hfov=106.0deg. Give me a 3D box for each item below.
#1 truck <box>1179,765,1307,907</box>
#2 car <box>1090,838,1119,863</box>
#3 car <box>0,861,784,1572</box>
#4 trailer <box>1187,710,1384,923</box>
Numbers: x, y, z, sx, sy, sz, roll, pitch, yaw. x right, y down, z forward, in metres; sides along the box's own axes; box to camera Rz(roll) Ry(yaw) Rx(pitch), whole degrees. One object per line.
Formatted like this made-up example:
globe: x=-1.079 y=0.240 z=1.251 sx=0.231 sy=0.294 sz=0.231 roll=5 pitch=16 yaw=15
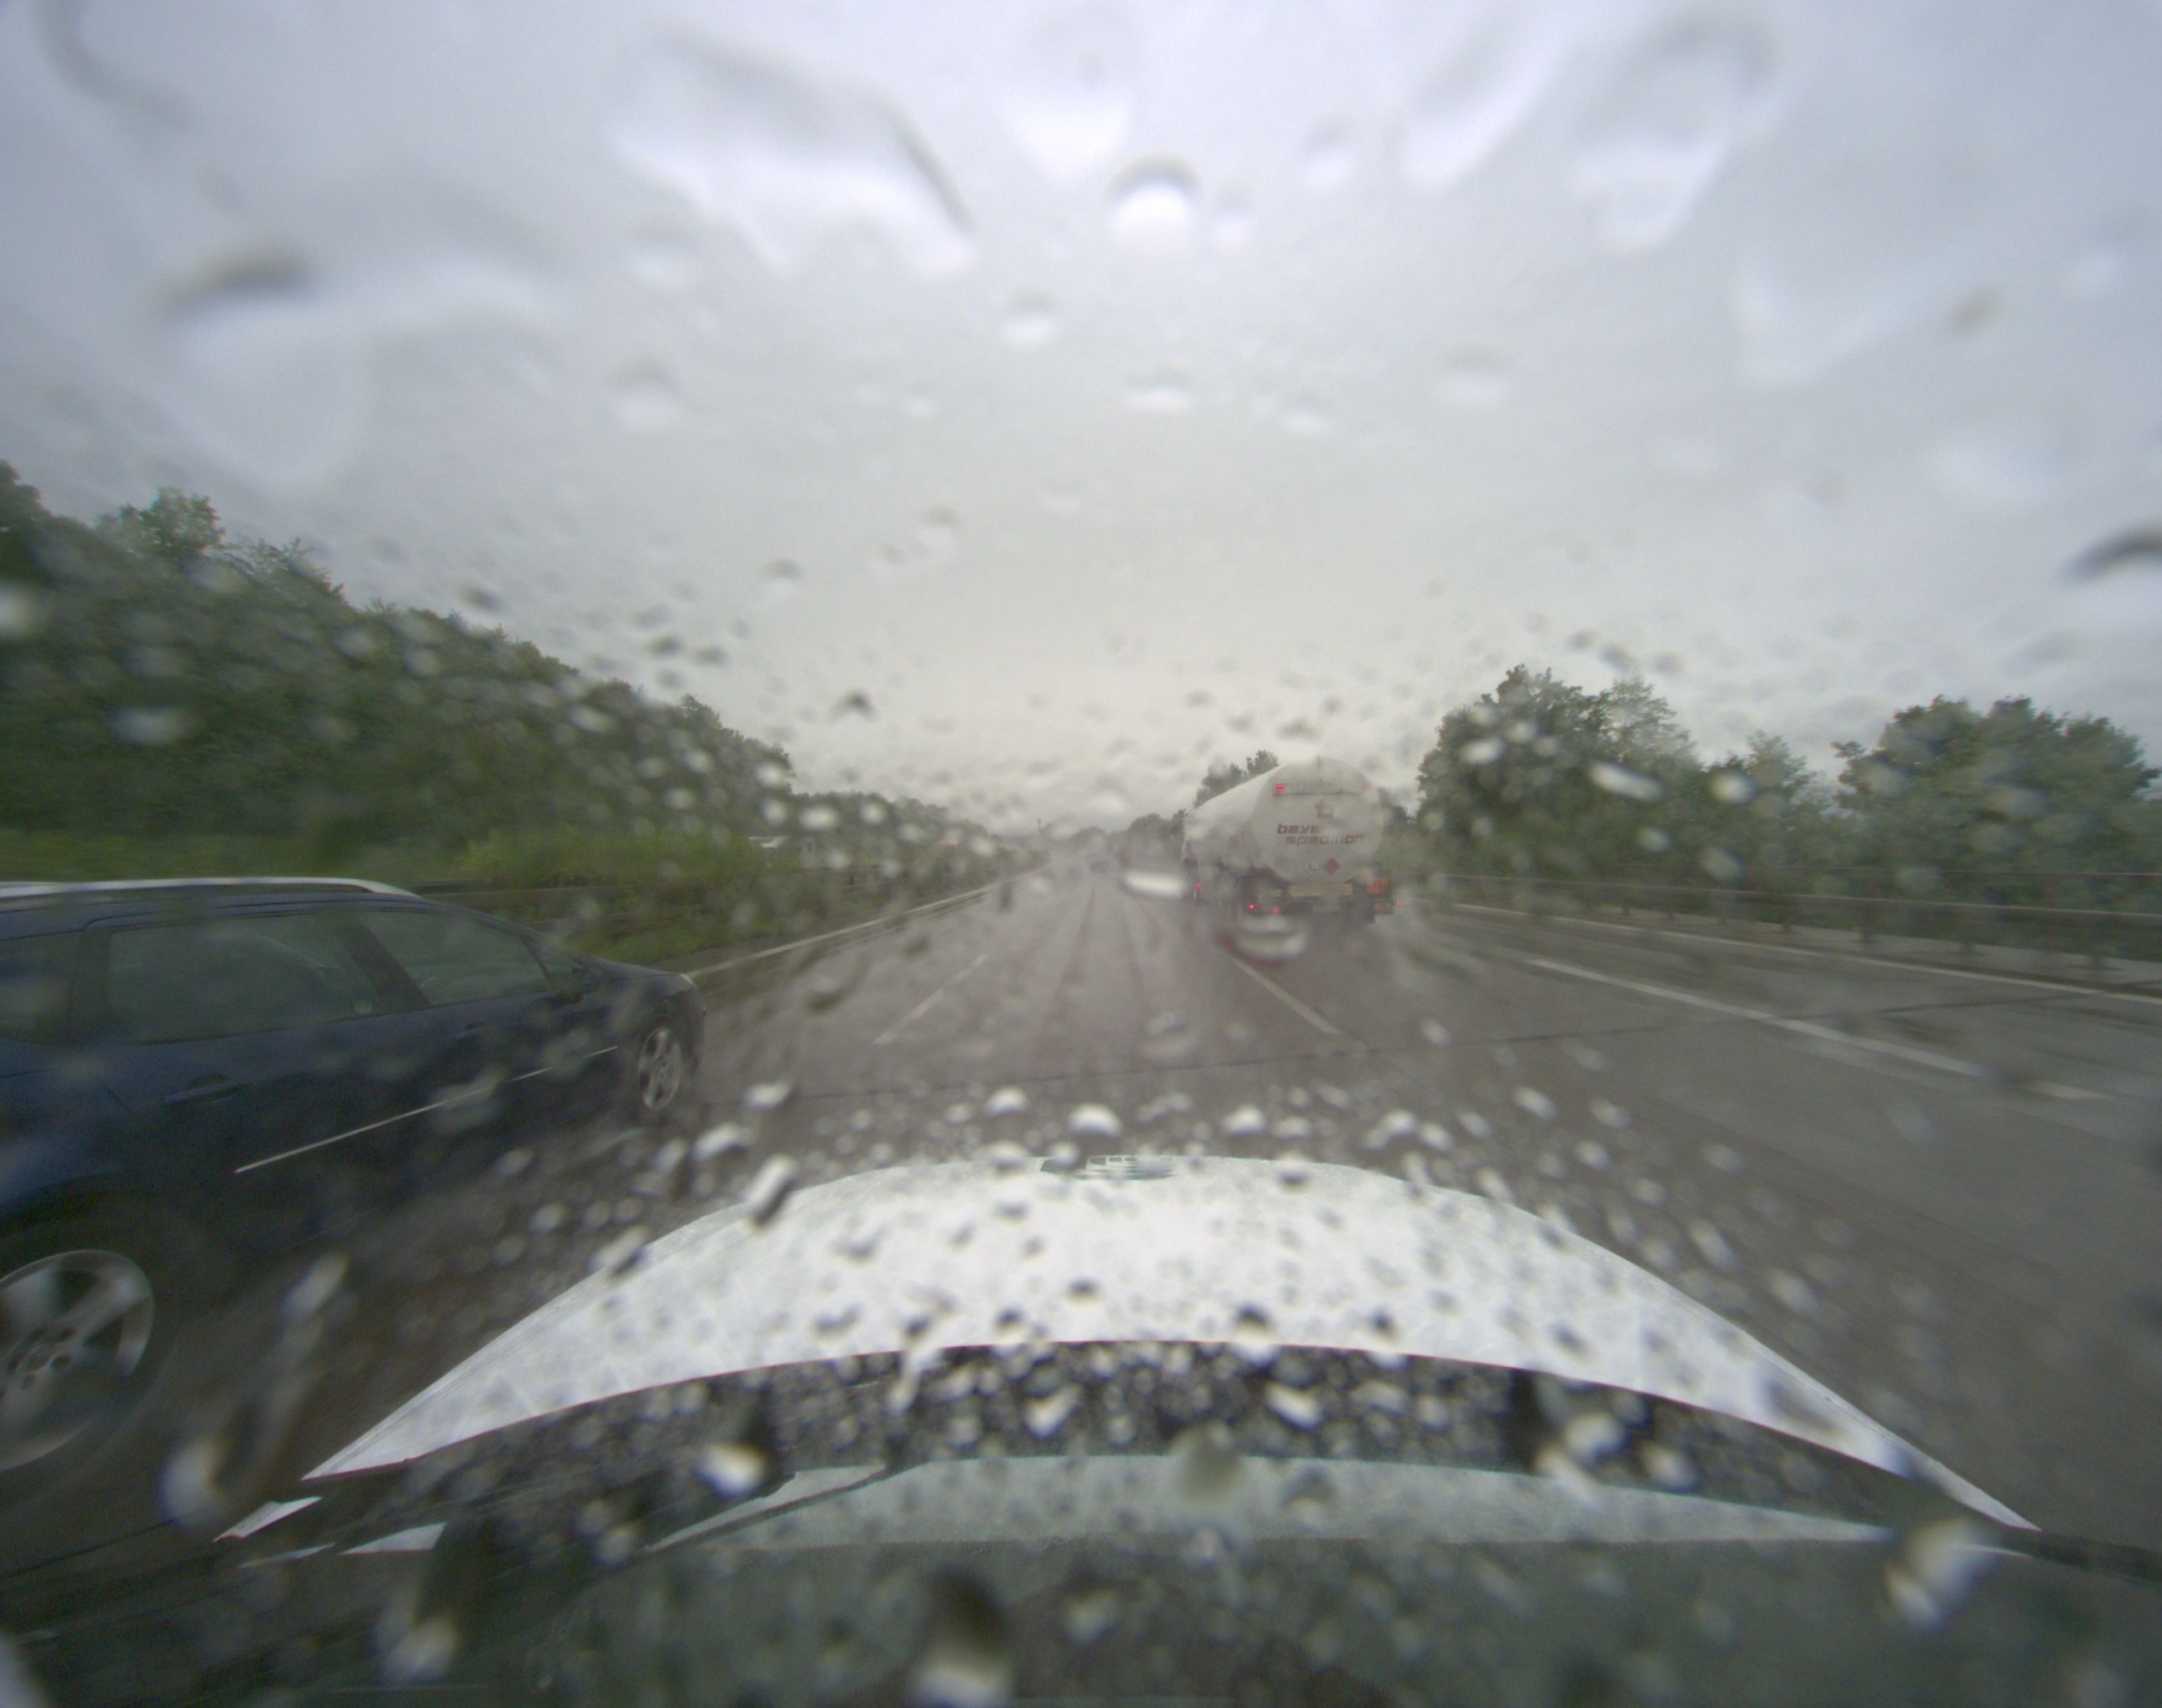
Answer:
truck: x=4.634 y=-0.484 z=24.598 sx=2.931 sy=3.684 sz=6.367 roll=-1 pitch=0 yaw=3
car: x=1.672 y=-0.284 z=59.455 sx=1.972 sy=1.756 sz=4.481 roll=-1 pitch=1 yaw=0
car: x=-3.339 y=0.833 z=3.450 sx=2.046 sy=1.485 sz=5.162 roll=0 pitch=1 yaw=3
trailer: x=4.282 y=-0.688 z=19.187 sx=2.991 sy=3.847 sz=8.632 roll=-1 pitch=0 yaw=4
